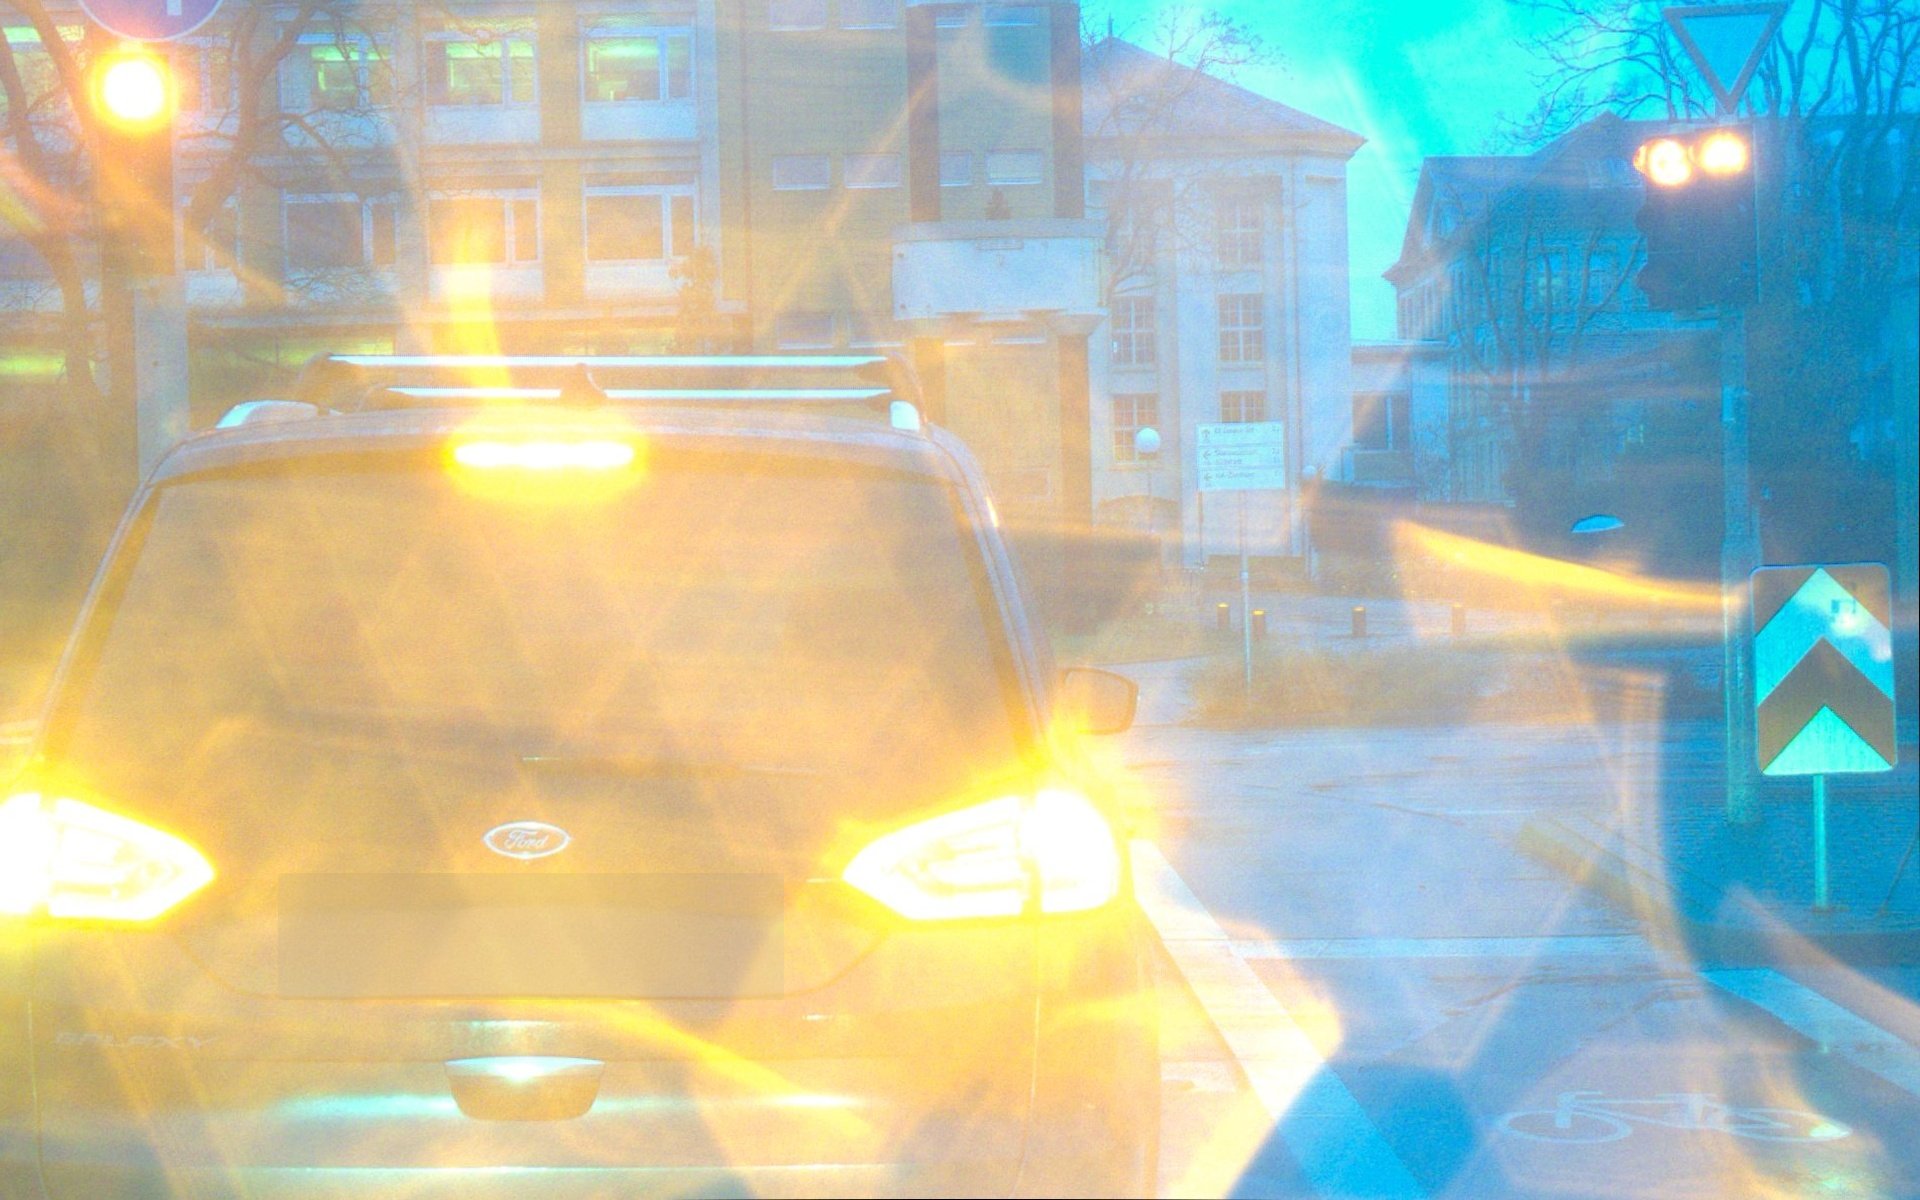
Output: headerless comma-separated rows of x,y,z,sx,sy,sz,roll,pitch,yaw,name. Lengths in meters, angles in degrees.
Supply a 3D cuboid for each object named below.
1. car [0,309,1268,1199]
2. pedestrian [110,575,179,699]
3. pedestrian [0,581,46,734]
-0.622,0.495,6.562,1.993,1.783,4.000,1,1,-1,car
-11.327,0.506,47.755,0.639,1.682,0.636,-2,1,16,pedestrian
-12.214,0.730,42.818,1.002,1.836,1.138,-2,3,23,pedestrian
